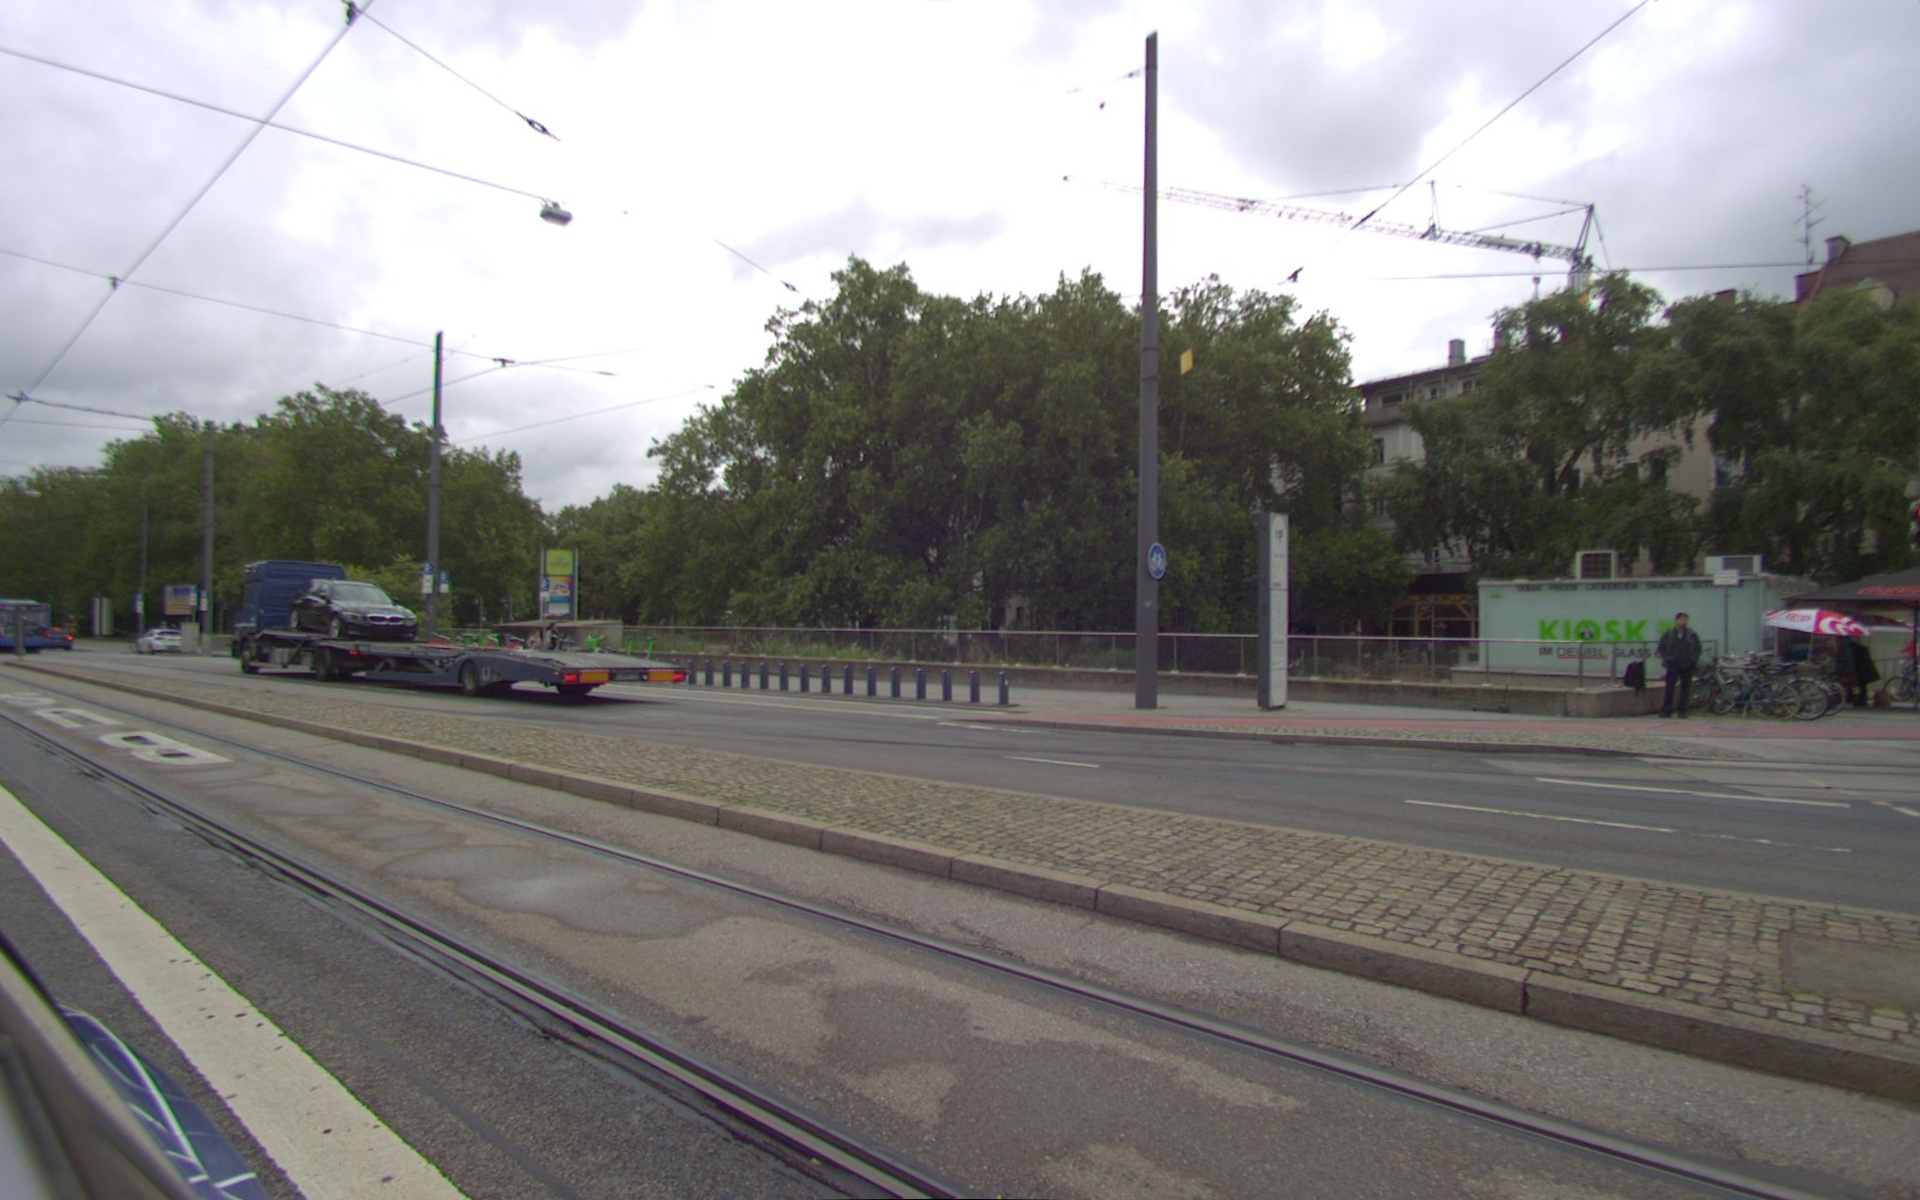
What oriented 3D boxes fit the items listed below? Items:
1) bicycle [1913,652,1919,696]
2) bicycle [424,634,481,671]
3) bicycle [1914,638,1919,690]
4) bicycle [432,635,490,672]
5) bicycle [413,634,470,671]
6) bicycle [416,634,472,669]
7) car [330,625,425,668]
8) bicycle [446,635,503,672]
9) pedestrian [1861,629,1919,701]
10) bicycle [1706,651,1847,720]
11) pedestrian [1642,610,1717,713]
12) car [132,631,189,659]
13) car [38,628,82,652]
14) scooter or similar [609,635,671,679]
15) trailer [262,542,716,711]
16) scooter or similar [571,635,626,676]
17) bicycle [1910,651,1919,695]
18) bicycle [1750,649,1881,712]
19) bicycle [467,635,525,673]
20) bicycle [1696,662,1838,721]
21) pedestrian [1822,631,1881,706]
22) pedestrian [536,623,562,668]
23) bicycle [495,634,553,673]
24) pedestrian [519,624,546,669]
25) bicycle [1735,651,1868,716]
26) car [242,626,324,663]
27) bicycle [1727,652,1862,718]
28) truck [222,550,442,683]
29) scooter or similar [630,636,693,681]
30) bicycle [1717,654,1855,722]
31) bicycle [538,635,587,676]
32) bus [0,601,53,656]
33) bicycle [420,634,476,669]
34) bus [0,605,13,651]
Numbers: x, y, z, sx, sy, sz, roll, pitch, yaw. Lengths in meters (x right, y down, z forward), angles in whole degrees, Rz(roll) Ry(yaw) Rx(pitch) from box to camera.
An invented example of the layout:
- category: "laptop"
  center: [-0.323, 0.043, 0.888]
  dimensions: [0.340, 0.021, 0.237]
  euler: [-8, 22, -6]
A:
- category: "bicycle"
  center: [25.982, 1.922, 25.722]
  dimensions: [2.523, 1.138, 0.636]
  euler: [-1, -2, 42]
- category: "bicycle"
  center: [-16.968, 1.749, 33.851]
  dimensions: [0.504, 1.181, 1.674]
  euler: [-1, -2, 33]
- category: "bicycle"
  center: [28.150, 1.799, 27.963]
  dimensions: [2.562, 1.432, 0.627]
  euler: [-1, -2, 41]
- category: "bicycle"
  center: [-16.507, 1.740, 33.491]
  dimensions: [0.560, 1.181, 1.675]
  euler: [-1, -2, 31]
- category: "bicycle"
  center: [-17.544, 1.759, 34.250]
  dimensions: [0.504, 1.181, 1.674]
  euler: [-1, -2, 34]
- category: "bicycle"
  center: [-18.062, 1.777, 35.433]
  dimensions: [0.561, 1.181, 1.672]
  euler: [-1, -2, 38]
- category: "car"
  center: [-22.106, 1.713, 38.350]
  dimensions: [4.230, 1.537, 1.840]
  euler: [-1, -3, 41]
- category: "bicycle"
  center: [-15.769, 1.727, 32.921]
  dimensions: [0.504, 1.181, 1.675]
  euler: [-1, -2, 31]
- category: "pedestrian"
  center: [21.212, 1.465, 23.081]
  dimensions: [0.728, 1.612, 0.799]
  euler: [1, -2, -34]
- category: "bicycle"
  center: [14.294, 1.475, 17.771]
  dimensions: [0.472, 1.104, 1.853]
  euler: [1, -2, -38]
- category: "pedestrian"
  center: [12.411, 1.040, 17.461]
  dimensions: [0.725, 1.729, 0.862]
  euler: [1, -2, -38]
- category: "car"
  center: [-46.067, 2.543, 58.287]
  dimensions: [3.998, 1.542, 1.868]
  euler: [-1, -2, 41]
- category: "car"
  center: [-63.377, 2.776, 71.219]
  dimensions: [3.998, 1.655, 1.786]
  euler: [-1, -2, 41]
- category: "scooter or similar"
  center: [-9.082, 1.604, 28.768]
  dimensions: [0.561, 1.181, 1.671]
  euler: [-1, -2, 38]
- category: "trailer"
  center: [-11.238, 0.597, 22.234]
  dimensions: [15.627, 2.703, 2.583]
  euler: [-1, -4, 40]
- category: "scooter or similar"
  center: [-10.752, 1.634, 30.168]
  dimensions: [0.558, 1.181, 1.681]
  euler: [-1, -2, 22]
- category: "bicycle"
  center: [26.403, 1.932, 26.243]
  dimensions: [2.523, 1.138, 0.636]
  euler: [-1, -2, 42]
- category: "bicycle"
  center: [16.327, 1.514, 19.361]
  dimensions: [0.472, 1.104, 1.854]
  euler: [1, -2, -35]
- category: "bicycle"
  center: [-14.938, 1.711, 32.629]
  dimensions: [0.560, 1.181, 1.675]
  euler: [-1, -2, 31]
- category: "bicycle"
  center: [13.862, 1.557, 17.434]
  dimensions: [0.473, 0.901, 1.852]
  euler: [2, -2, -41]
- category: "pedestrian"
  center: [19.690, 1.499, 22.355]
  dimensions: [0.728, 1.612, 0.799]
  euler: [1, -2, -34]
- category: "pedestrian"
  center: [-14.650, 1.615, 36.088]
  dimensions: [0.588, 1.570, 0.624]
  euler: [-1, -3, 40]
- category: "bicycle"
  center: [-13.833, 1.690, 32.131]
  dimensions: [0.560, 1.181, 1.675]
  euler: [-1, -2, 31]
- category: "pedestrian"
  center: [-14.963, 1.629, 35.414]
  dimensions: [0.588, 1.570, 0.624]
  euler: [-1, -3, 40]
- category: "bicycle"
  center: [15.713, 1.528, 18.949]
  dimensions: [0.472, 1.104, 1.854]
  euler: [1, -2, -35]
- category: "car"
  center: [-29.951, 1.925, 44.740]
  dimensions: [4.099, 1.582, 1.973]
  euler: [-1, -2, 41]
- category: "bicycle"
  center: [15.313, 1.538, 18.618]
  dimensions: [0.472, 1.104, 1.854]
  euler: [1, -2, -35]
- category: "truck"
  center: [-16.930, 0.494, 27.035]
  dimensions: [7.683, 3.111, 2.540]
  euler: [-1, -4, 39]
- category: "scooter or similar"
  center: [-8.228, 1.590, 27.947]
  dimensions: [0.561, 1.181, 1.671]
  euler: [-1, -2, 38]
- category: "bicycle"
  center: [14.786, 1.551, 18.167]
  dimensions: [0.472, 1.104, 1.854]
  euler: [1, -2, -35]
- category: "bicycle"
  center: [-11.938, 1.657, 30.445]
  dimensions: [0.556, 1.181, 1.687]
  euler: [0, -2, 11]
- category: "bus"
  center: [-57.386, 1.715, 60.534]
  dimensions: [13.403, 2.989, 2.599]
  euler: [-1, -3, 40]
- category: "bicycle"
  center: [-17.697, 1.759, 34.991]
  dimensions: [0.505, 1.181, 1.672]
  euler: [-1, -2, 37]
- category: "bus"
  center: [-67.444, 1.891, 68.932]
  dimensions: [12.834, 2.989, 2.599]
  euler: [-1, -3, 40]
